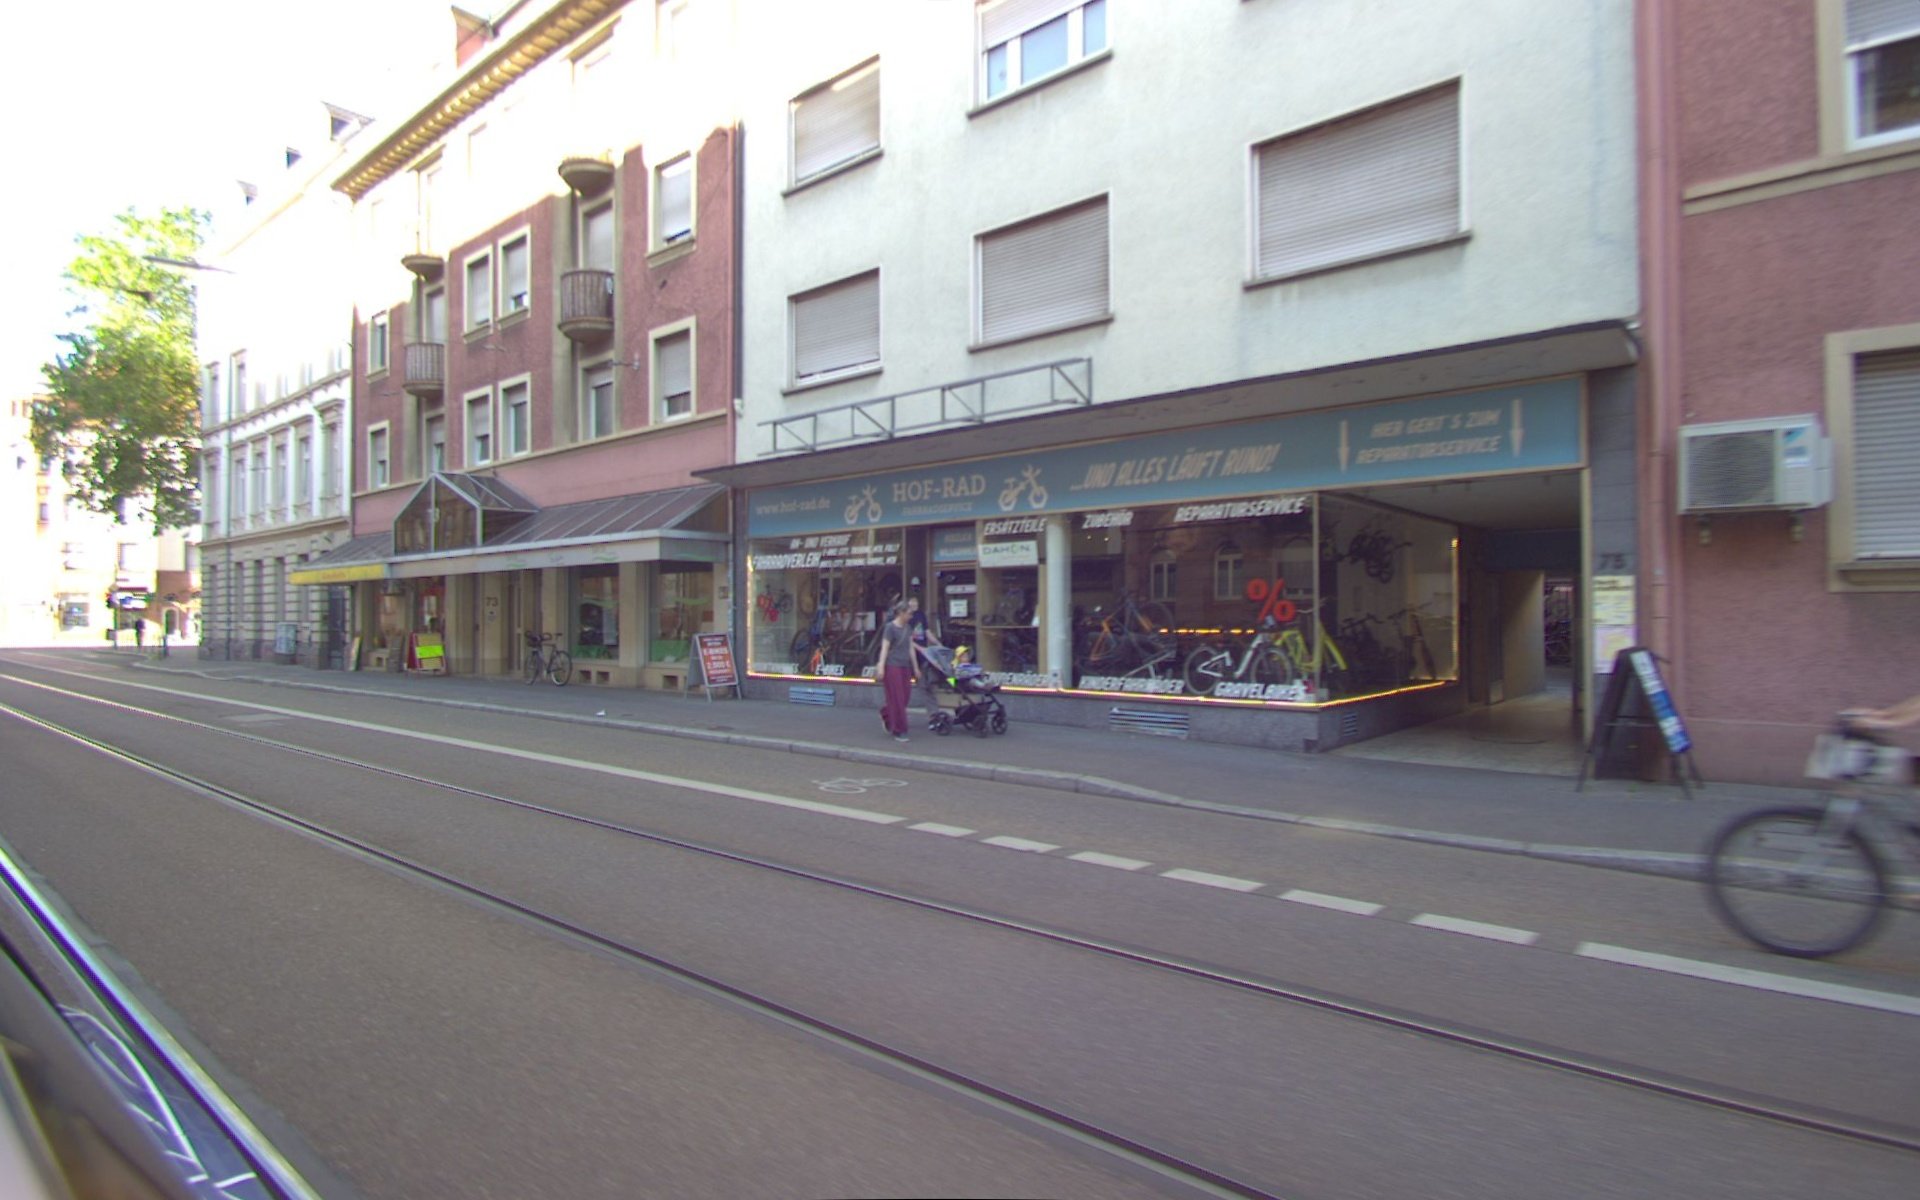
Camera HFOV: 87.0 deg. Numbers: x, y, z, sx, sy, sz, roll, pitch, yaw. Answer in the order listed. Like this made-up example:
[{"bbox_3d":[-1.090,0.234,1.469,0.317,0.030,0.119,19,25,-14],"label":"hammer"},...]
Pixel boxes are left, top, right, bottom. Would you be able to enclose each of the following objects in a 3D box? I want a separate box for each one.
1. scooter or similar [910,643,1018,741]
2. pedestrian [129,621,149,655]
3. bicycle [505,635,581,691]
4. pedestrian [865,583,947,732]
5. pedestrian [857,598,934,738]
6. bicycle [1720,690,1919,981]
[{"bbox_3d":[0.041,1.066,12.029,1.104,1.069,0.655,-2,-1,41],"label":"scooter or similar"},{"bbox_3d":[-47.011,2.165,57.930,0.809,1.861,0.784,-1,-1,43],"label":"pedestrian"},{"bbox_3d":[-8.590,1.262,20.788,2.328,1.068,0.420,-1,-1,41],"label":"bicycle"},{"bbox_3d":[-0.676,0.695,12.691,0.820,1.803,0.619,-1,-1,40],"label":"pedestrian"},{"bbox_3d":[-0.745,0.765,11.781,0.623,1.560,0.629,-1,-1,40],"label":"pedestrian"},{"bbox_3d":[4.300,0.964,3.990,2.043,1.104,0.596,-1,-3,41],"label":"bicycle"}]
